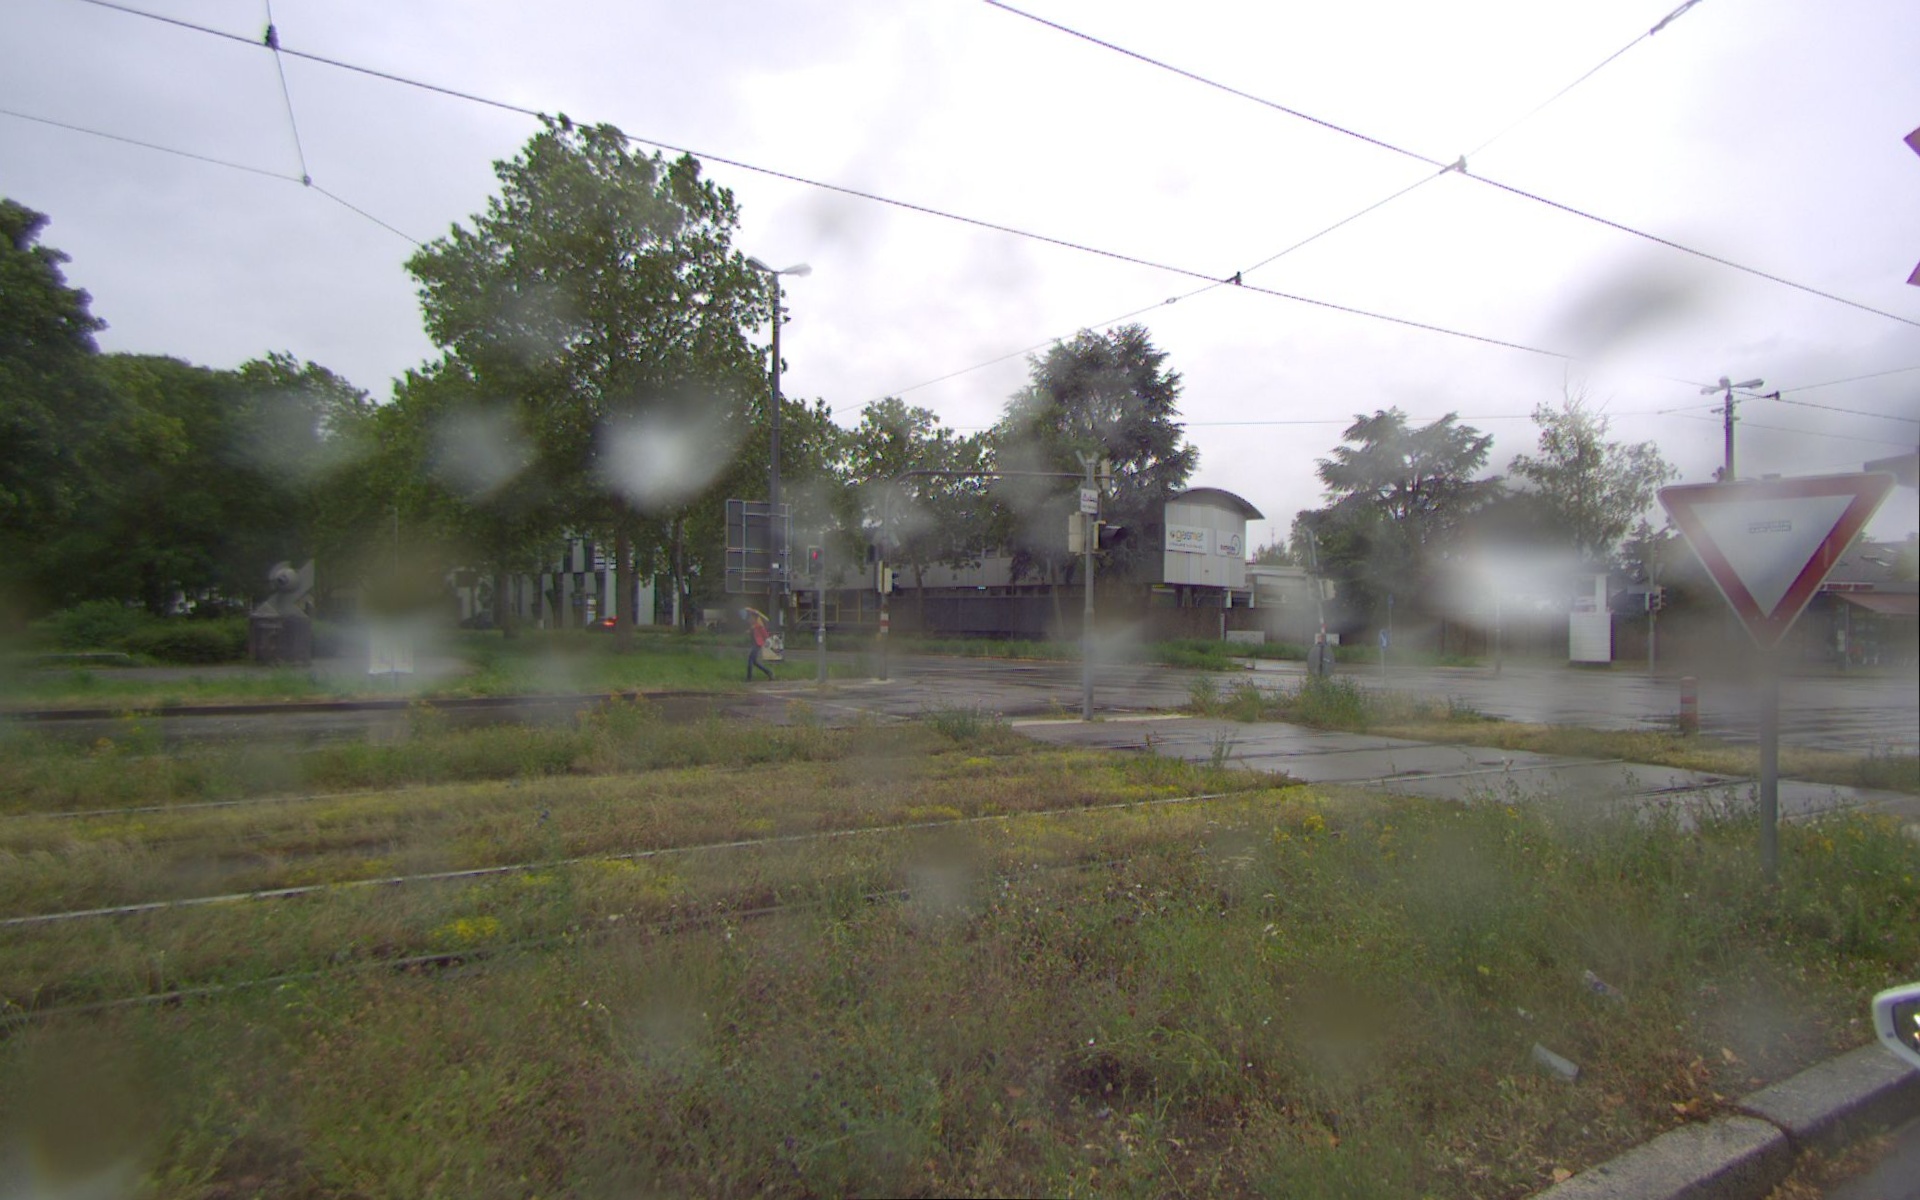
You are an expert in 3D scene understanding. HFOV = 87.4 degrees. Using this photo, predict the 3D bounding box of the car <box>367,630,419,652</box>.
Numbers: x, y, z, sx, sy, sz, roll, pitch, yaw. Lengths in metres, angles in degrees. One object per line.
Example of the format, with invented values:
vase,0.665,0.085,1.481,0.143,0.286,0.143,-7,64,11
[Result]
car,-40.585,2.910,71.880,4.246,1.420,1.797,-1,-1,38

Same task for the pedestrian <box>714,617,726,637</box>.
pedestrian,-20.109,2.257,84.078,0.668,1.690,0.815,2,0,-41

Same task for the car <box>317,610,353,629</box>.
car,-75.133,2.361,120.726,3.932,2.116,2.123,2,0,33

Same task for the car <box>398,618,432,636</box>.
car,-59.794,2.982,110.221,3.940,1.806,1.990,2,0,41

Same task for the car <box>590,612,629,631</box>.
car,-28.151,1.715,80.555,1.679,1.417,4.087,2,0,-39

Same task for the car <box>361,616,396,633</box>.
car,-65.914,2.753,113.842,3.934,1.806,1.993,2,0,36

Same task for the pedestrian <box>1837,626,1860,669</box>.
pedestrian,42.998,2.303,48.623,0.714,2.040,0.791,2,0,38

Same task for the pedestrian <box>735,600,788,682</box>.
pedestrian,-5.079,1.035,25.652,0.998,2.017,0.945,2,0,-34
